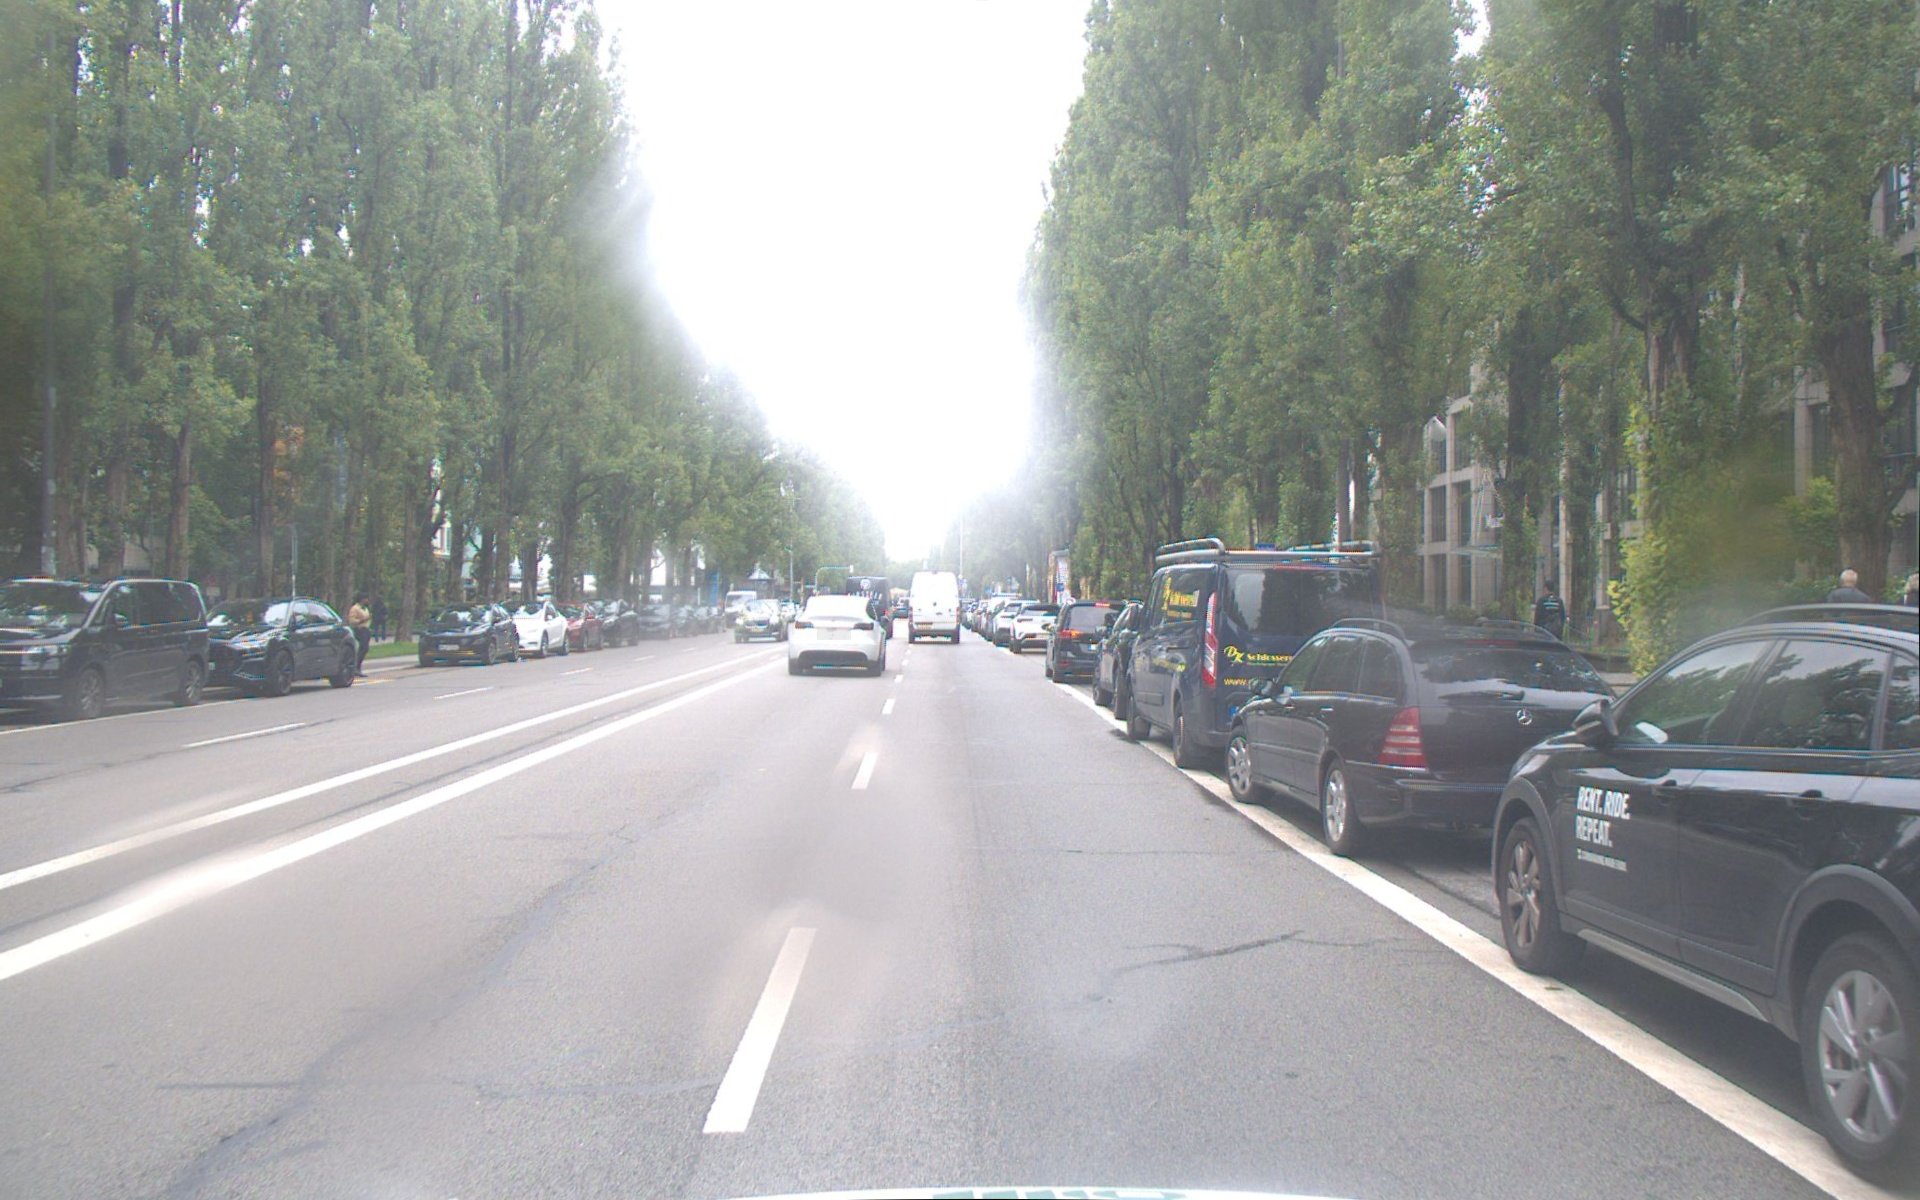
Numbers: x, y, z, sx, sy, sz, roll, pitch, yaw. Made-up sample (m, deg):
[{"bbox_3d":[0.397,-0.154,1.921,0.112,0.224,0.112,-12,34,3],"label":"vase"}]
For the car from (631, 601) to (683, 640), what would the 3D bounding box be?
[{"bbox_3d":[-13.336,0.877,72.991,1.726,1.606,3.460,0,1,-2],"label":"car"}]

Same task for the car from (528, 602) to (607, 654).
[{"bbox_3d":[-12.735,0.883,53.913,1.726,1.606,3.971,0,0,-1],"label":"car"}]

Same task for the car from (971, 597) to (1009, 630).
[{"bbox_3d":[1.537,0.698,87.272,1.708,1.671,3.949,1,0,-3],"label":"car"}]

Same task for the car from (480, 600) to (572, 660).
[{"bbox_3d":[-12.571,0.836,48.146,1.726,1.606,3.972,0,1,-1],"label":"car"}]

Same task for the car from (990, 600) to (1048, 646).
[{"bbox_3d":[2.096,0.796,59.224,1.708,1.573,3.949,1,0,-3],"label":"car"}]

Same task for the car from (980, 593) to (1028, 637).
[{"bbox_3d":[1.866,0.619,71.321,1.708,1.818,3.949,1,0,-3],"label":"car"}]

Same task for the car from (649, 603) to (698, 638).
[{"bbox_3d":[-13.330,0.929,77.071,1.726,1.606,3.460,0,0,-2],"label":"car"}]

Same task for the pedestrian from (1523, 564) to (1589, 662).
[{"bbox_3d":[10.959,0.239,30.445,0.890,1.783,0.860,0,0,-1],"label":"pedestrian"}]

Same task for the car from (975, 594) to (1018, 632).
[{"bbox_3d":[1.676,0.604,76.747,1.708,1.671,3.949,1,0,-3],"label":"car"}]

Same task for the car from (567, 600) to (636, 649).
[{"bbox_3d":[-12.861,0.862,59.510,1.726,1.606,3.972,0,1,-1],"label":"car"}]

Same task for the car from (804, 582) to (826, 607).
[{"bbox_3d":[-16.834,-0.682,192.674,2.148,2.765,6.999,0,1,-1],"label":"car"}]

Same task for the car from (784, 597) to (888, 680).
[{"bbox_3d":[-2.557,0.754,35.186,1.953,1.603,4.637,1,0,-2],"label":"car"}]

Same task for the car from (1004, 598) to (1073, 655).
[{"bbox_3d":[2.382,0.787,51.167,1.708,1.671,3.949,1,0,-3],"label":"car"}]

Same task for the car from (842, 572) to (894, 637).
[{"bbox_3d":[-3.874,0.179,70.728,2.034,2.600,5.929,1,0,-2],"label":"car"}]

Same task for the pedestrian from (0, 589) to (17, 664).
[{"bbox_3d":[-22.206,0.606,37.800,0.798,1.691,0.897,0,0,-1],"label":"pedestrian"}]

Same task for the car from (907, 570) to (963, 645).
[{"bbox_3d":[-0.986,0.264,63.829,1.998,2.698,6.040,1,0,-1],"label":"car"}]

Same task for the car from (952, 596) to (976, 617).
[{"bbox_3d":[0.347,0.504,134.177,1.708,1.671,3.949,1,0,-3],"label":"car"}]

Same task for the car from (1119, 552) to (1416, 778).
[{"bbox_3d":[2.957,0.581,17.090,1.872,1.958,5.036,1,0,-3],"label":"car"}]

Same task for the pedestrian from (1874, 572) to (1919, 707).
[{"bbox_3d":[11.868,0.476,20.462,0.681,1.634,0.834,0,0,3],"label":"pedestrian"}]

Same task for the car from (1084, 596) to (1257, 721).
[{"bbox_3d":[2.837,0.752,23.092,1.708,1.553,3.949,1,0,-3],"label":"car"}]

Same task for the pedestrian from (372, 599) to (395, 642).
[{"bbox_3d":[-20.577,0.734,59.008,0.580,1.519,0.677,0,0,-1],"label":"pedestrian"}]

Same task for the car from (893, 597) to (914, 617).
[{"bbox_3d":[-4.906,0.618,143.683,1.708,1.671,3.949,1,0,-3],"label":"car"}]

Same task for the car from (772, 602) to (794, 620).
[{"bbox_3d":[-14.202,0.896,132.971,1.520,1.371,3.460,0,1,-1],"label":"car"}]

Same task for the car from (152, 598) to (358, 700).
[{"bbox_3d":[-12.122,0.780,28.756,1.954,1.634,4.349,0,0,-4],"label":"car"}]

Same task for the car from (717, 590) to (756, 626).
[{"bbox_3d":[-14.177,0.504,105.139,1.953,2.156,4.999,0,1,-1],"label":"car"}]

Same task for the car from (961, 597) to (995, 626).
[{"bbox_3d":[1.046,0.656,98.285,1.708,1.671,3.949,1,0,-3],"label":"car"}]

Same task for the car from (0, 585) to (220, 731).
[{"bbox_3d":[-12.284,0.720,23.044,1.953,1.828,4.760,0,0,-2],"label":"car"}]

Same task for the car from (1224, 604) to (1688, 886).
[{"bbox_3d":[3.144,0.826,11.437,1.708,1.553,4.231,1,0,-3],"label":"car"}]

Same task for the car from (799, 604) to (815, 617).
[{"bbox_3d":[-16.867,1.155,182.274,1.520,1.371,3.460,0,1,-1],"label":"car"}]

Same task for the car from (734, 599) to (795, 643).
[{"bbox_3d":[-7.589,0.793,64.585,1.953,1.575,4.637,1,0,-2],"label":"car"}]

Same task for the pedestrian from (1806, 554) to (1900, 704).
[{"bbox_3d":[11.095,0.353,20.582,0.732,1.835,0.843,0,0,3],"label":"pedestrian"}]

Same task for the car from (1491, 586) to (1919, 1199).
[{"bbox_3d":[3.257,0.762,5.469,1.707,1.553,3.907,1,0,0],"label":"car"}]

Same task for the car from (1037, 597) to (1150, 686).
[{"bbox_3d":[2.590,0.778,32.924,1.708,1.619,3.949,1,0,-3],"label":"car"}]

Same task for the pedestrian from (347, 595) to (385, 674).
[{"bbox_3d":[-12.807,0.733,35.659,0.655,1.685,0.600,0,0,-7],"label":"pedestrian"}]

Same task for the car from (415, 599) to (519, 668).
[{"bbox_3d":[-12.581,0.826,42.427,1.905,1.606,3.606,0,1,-6],"label":"car"}]
